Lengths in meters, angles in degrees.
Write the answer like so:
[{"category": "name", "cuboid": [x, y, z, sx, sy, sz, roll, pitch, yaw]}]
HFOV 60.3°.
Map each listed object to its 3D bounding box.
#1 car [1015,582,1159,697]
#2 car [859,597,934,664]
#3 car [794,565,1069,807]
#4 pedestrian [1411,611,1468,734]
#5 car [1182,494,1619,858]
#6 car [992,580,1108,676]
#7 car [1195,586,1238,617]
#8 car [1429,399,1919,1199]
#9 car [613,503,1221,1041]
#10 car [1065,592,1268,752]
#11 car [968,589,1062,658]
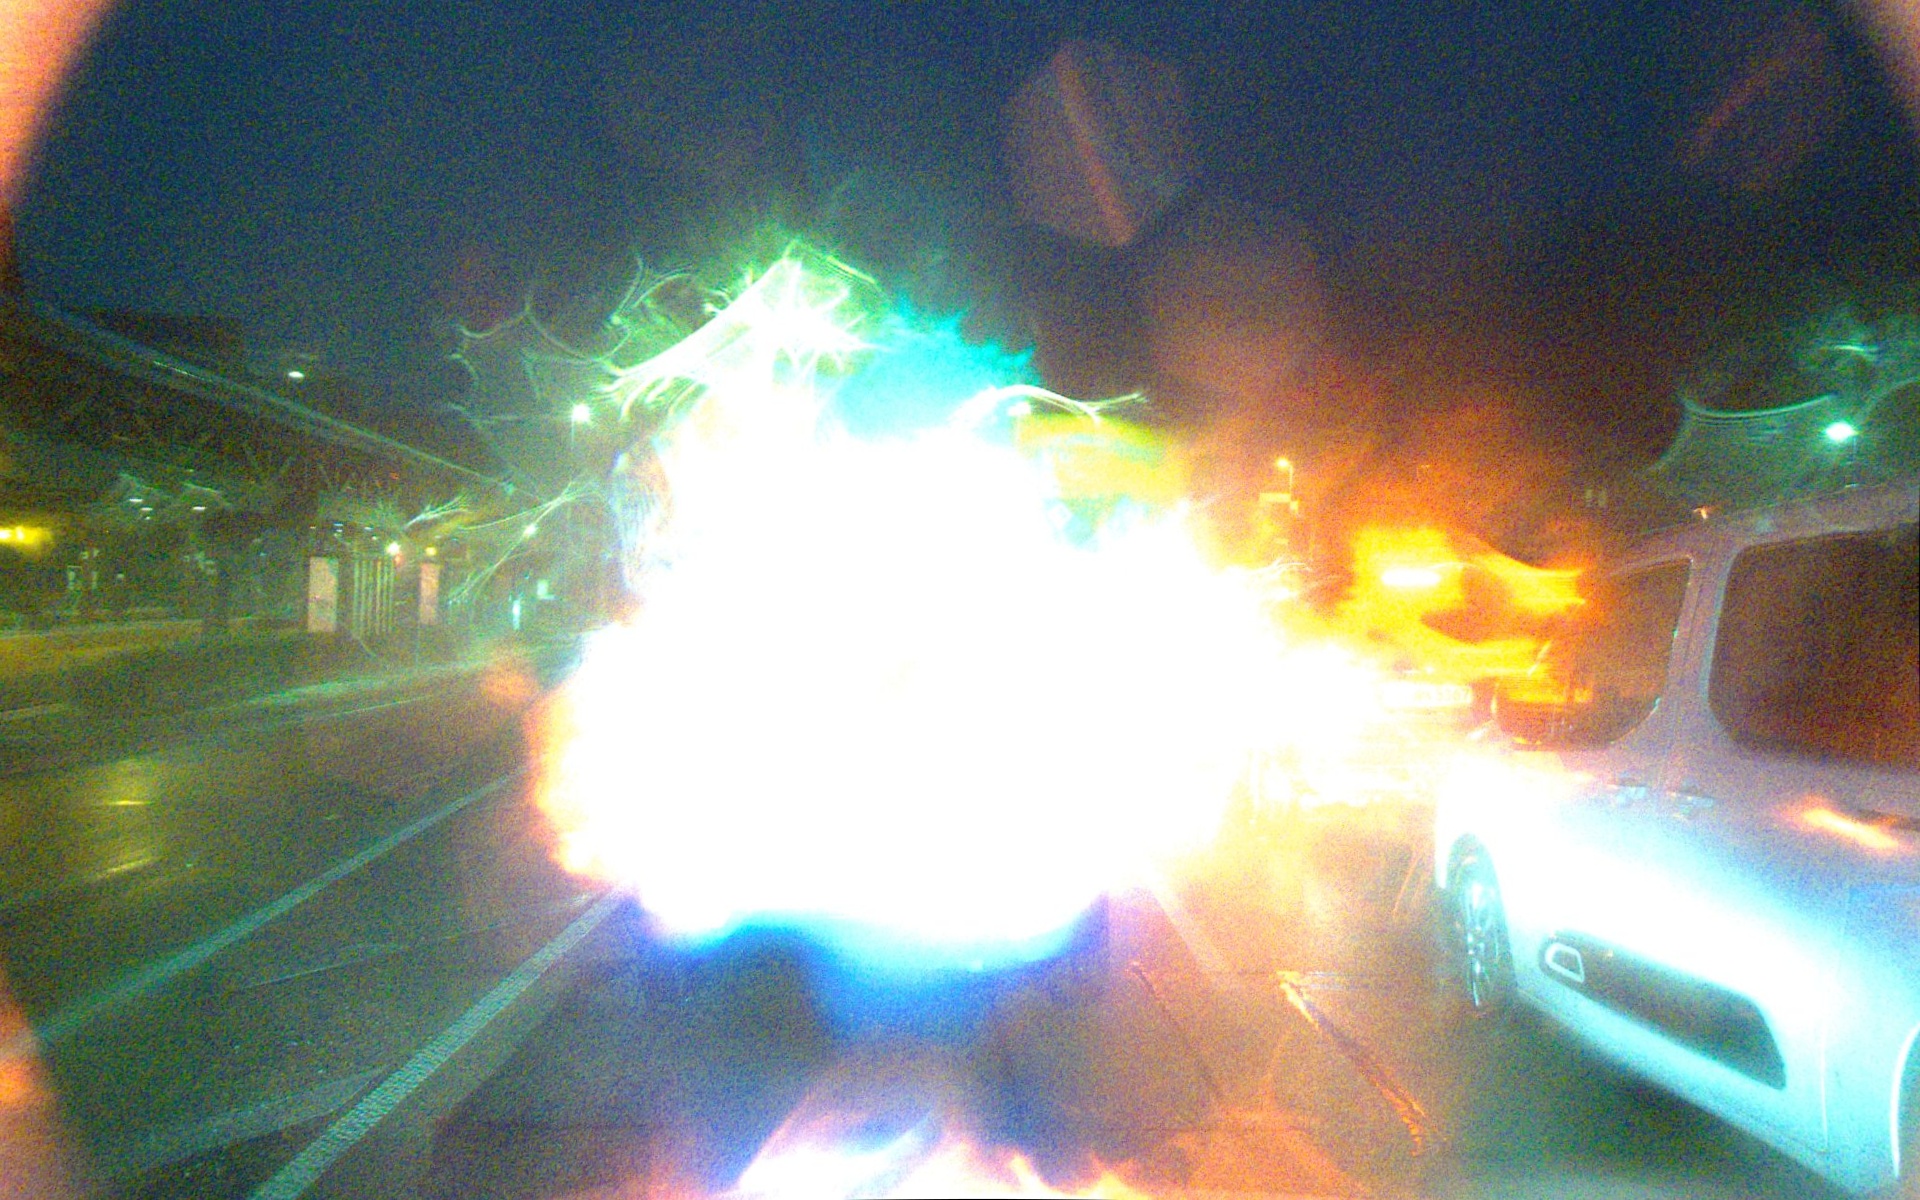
[{"category": "car", "cuboid": [1.991, 0.612, 27.009, 1.953, 1.699, 3.999, 1, 0, -1]}, {"category": "car", "cuboid": [-1.897, 0.857, 48.217, 1.955, 1.856, 3.995, 1, 0, -6]}, {"category": "car", "cuboid": [-0.236, 0.632, 13.933, 1.953, 1.713, 3.999, 1, 0, -1]}, {"category": "pedestrian", "cuboid": [6.870, 1.024, 23.718, 0.610, 1.731, 0.540, 1, -1, -3]}, {"category": "car", "cuboid": [2.837, 0.450, 11.628, 1.929, 2.082, 3.999, 1, 0, -1]}, {"category": "car", "cuboid": [1.758, 0.547, 33.557, 1.953, 1.804, 3.998, 1, 0, -2]}, {"category": "car", "cuboid": [14.602, 0.090, 94.332, 1.827, 1.675, 3.962, -2, 0, 0]}, {"category": "car", "cuboid": [2.752, 0.577, 4.204, 1.814, 1.897, 4.339, 1, 0, -1]}, {"category": "car", "cuboid": [-0.221, 0.583, 7.679, 1.974, 1.747, 4.449, 1, 0, -2]}, {"category": "car", "cuboid": [2.443, 0.817, 20.545, 1.953, 1.748, 3.999, 1, 0, -1]}, {"category": "car", "cuboid": [1.291, 0.562, 40.488, 1.821, 1.571, 3.926, 1, 0, -5]}]
